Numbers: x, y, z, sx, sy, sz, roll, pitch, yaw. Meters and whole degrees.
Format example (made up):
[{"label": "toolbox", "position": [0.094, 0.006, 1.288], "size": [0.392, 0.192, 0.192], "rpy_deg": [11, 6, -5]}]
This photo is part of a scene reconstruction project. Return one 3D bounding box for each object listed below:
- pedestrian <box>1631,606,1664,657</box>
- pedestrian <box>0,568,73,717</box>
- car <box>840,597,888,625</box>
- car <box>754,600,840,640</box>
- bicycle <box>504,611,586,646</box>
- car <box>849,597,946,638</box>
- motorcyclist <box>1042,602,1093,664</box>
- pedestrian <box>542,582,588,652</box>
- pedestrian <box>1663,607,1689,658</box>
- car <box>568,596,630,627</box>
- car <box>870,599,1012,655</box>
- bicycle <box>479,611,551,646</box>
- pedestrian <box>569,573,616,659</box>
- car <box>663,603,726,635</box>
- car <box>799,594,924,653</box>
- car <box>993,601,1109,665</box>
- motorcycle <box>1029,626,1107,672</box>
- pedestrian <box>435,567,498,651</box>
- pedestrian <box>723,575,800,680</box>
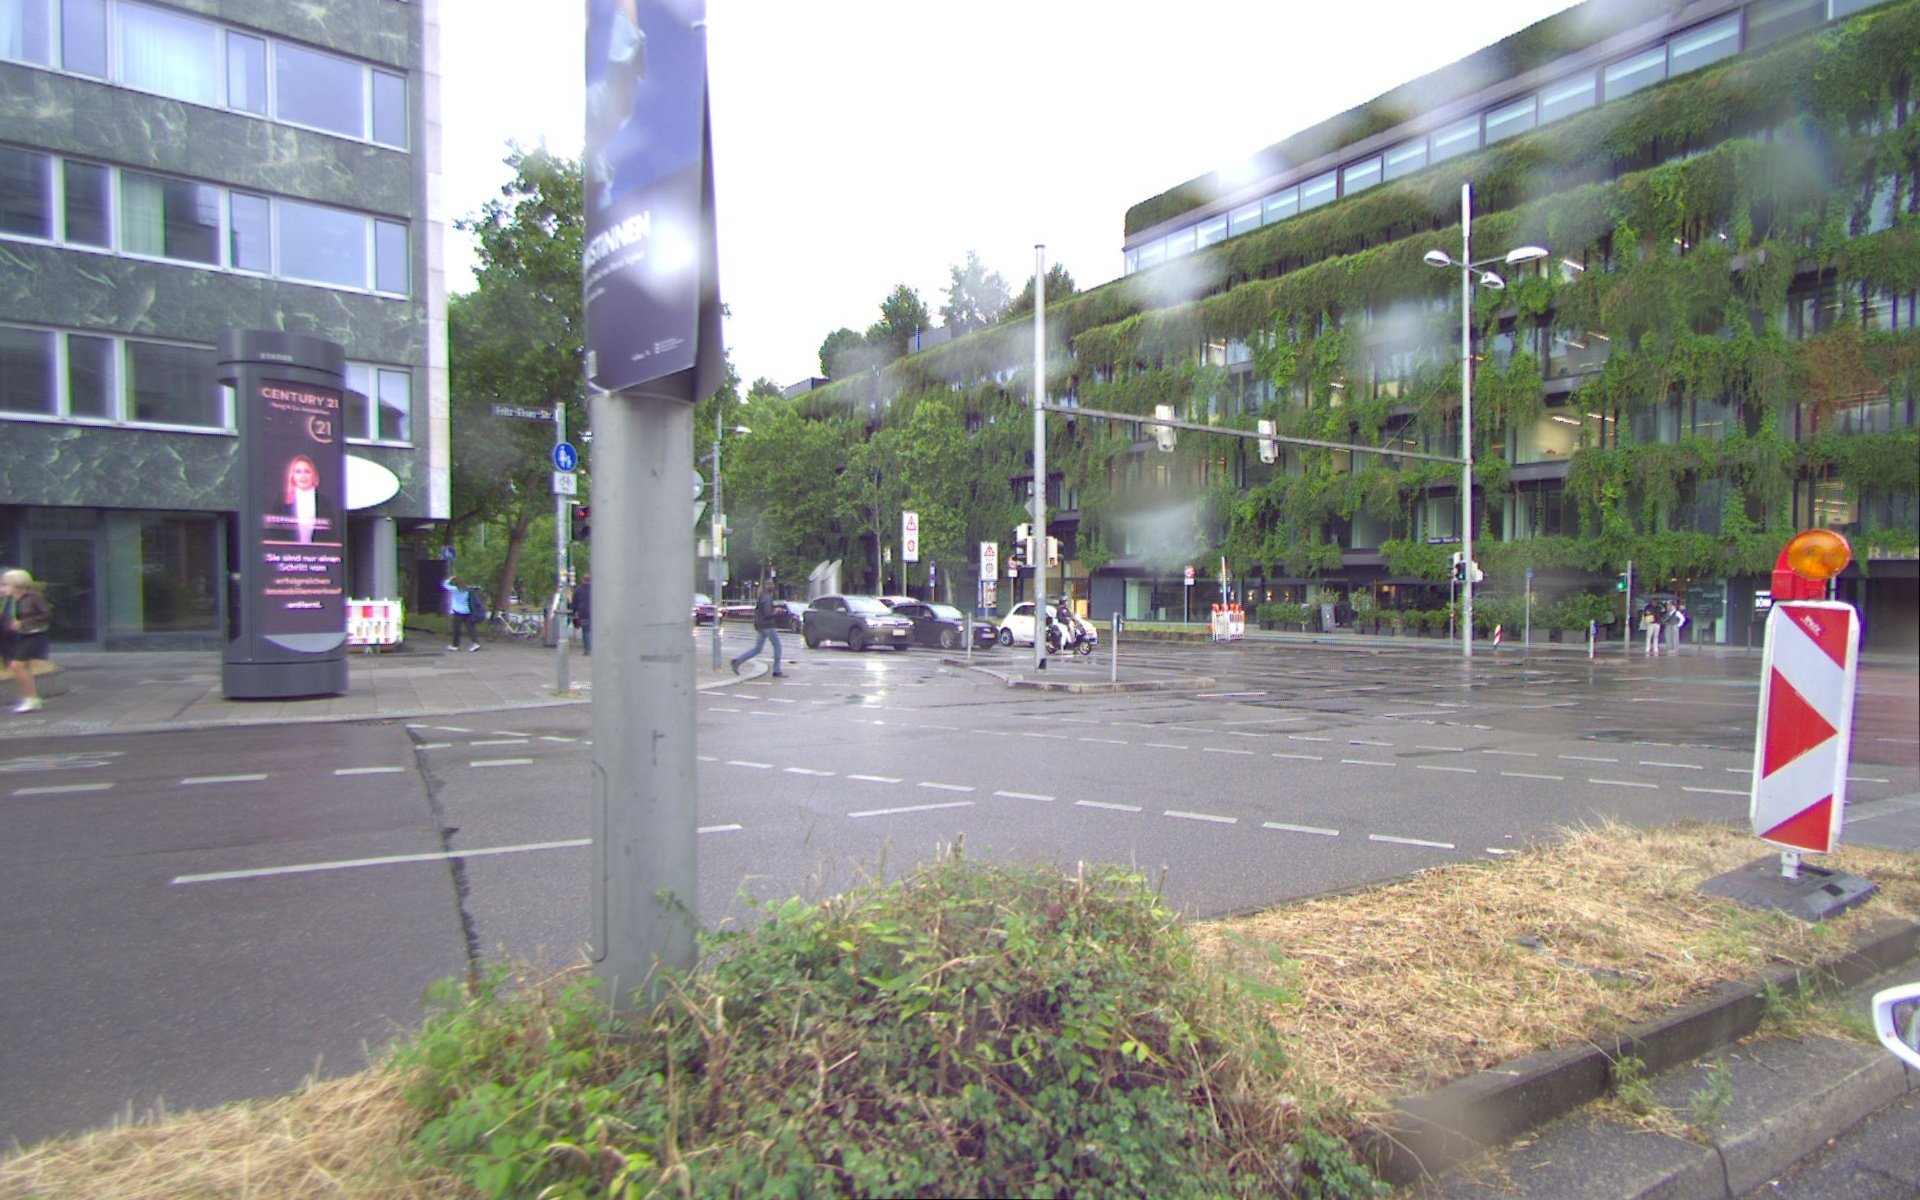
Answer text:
[{"label": "pedestrian", "position": [24.836, 1.132, 36.295], "size": [0.923, 1.781, 1.167], "rpy_deg": [1, 0, 37]}, {"label": "pedestrian", "position": [-10.950, 0.478, 11.669], "size": [0.680, 1.675, 0.756], "rpy_deg": [1, 0, -14]}, {"label": "car", "position": [-7.435, 0.830, 77.346], "size": [1.979, 2.040, 4.073], "rpy_deg": [1, -1, -34]}, {"label": "car", "position": [-7.458, 0.900, 45.778], "size": [1.986, 1.674, 4.050], "rpy_deg": [3, -1, -42]}, {"label": "bicycle", "position": [-12.042, 0.822, 29.204], "size": [2.170, 0.968, 0.423], "rpy_deg": [1, -1, -44]}, {"label": "car", "position": [-2.512, 0.671, 39.729], "size": [1.858, 1.543, 3.855], "rpy_deg": [1, 0, -42]}, {"label": "motorcyclist", "position": [3.109, 0.942, 29.105], "size": [1.173, 1.725, 0.843], "rpy_deg": [1, 0, 44]}, {"label": "pedestrian", "position": [-9.428, 0.410, 23.950], "size": [0.912, 1.605, 0.828], "rpy_deg": [0, -4, -30]}, {"label": "pedestrian", "position": [25.509, 1.157, 35.787], "size": [0.731, 1.781, 0.972], "rpy_deg": [1, 0, 37]}, {"label": "car", "position": [-21.092, 0.671, 58.664], "size": [1.986, 1.674, 4.050], "rpy_deg": [3, -1, -42]}, {"label": "car", "position": [-0.695, 0.826, 32.692], "size": [1.957, 1.674, 4.755], "rpy_deg": [1, 0, -43]}, {"label": "bicycle", "position": [-12.310, 0.795, 27.818], "size": [1.773, 0.946, 0.473], "rpy_deg": [1, 0, -21]}, {"label": "pedestrian", "position": [-8.454, 0.378, 23.080], "size": [0.887, 1.909, 0.781], "rpy_deg": [1, -4, -30]}, {"label": "car", "position": [-14.706, 1.031, 55.480], "size": [1.805, 1.674, 4.053], "rpy_deg": [3, -1, -40]}, {"label": "car", "position": [-3.097, 0.669, 31.035], "size": [1.981, 1.674, 4.194], "rpy_deg": [1, 0, -37]}, {"label": "car", "position": [2.986, 1.047, 33.299], "size": [1.985, 1.948, 3.417], "rpy_deg": [1, 0, -42]}, {"label": "motorcycle", "position": [3.114, 1.395, 29.094], "size": [2.204, 1.227, 0.843], "rpy_deg": [1, 0, 44]}, {"label": "pedestrian", "position": [-11.476, 0.229, 23.356], "size": [1.005, 1.878, 0.877], "rpy_deg": [-3, -4, 25]}, {"label": "pedestrian", "position": [-3.746, 0.498, 18.938], "size": [1.225, 1.911, 0.685], "rpy_deg": [1, 2, -34]}]
